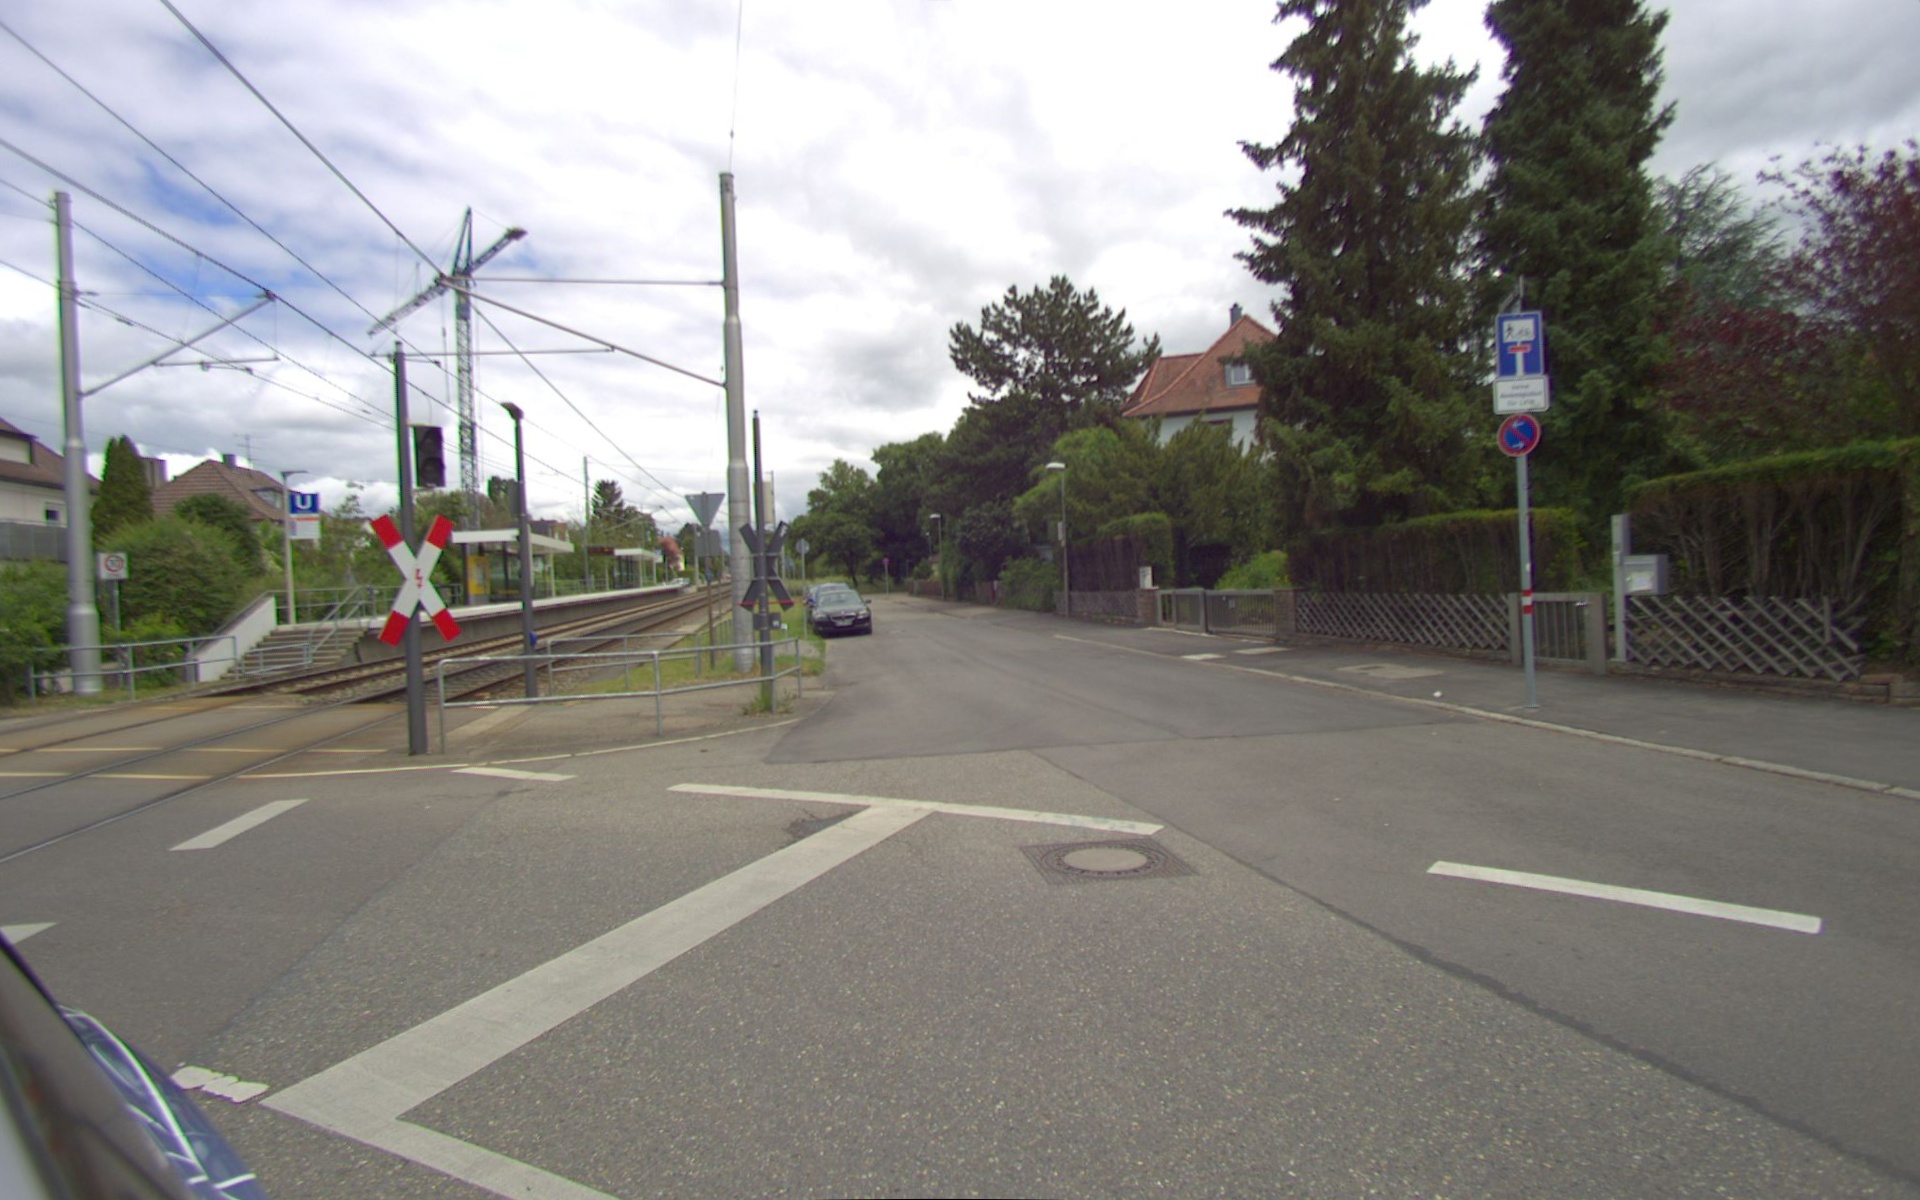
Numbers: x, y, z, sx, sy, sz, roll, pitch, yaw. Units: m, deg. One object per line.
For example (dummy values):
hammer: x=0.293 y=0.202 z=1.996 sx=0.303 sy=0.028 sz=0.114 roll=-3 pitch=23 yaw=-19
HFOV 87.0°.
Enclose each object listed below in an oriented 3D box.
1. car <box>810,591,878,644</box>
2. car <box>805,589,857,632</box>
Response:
car: x=-3.859 y=0.521 z=33.007 sx=1.793 sy=1.512 sz=4.129 roll=-3 pitch=1 yaw=-11
car: x=-5.108 y=0.373 z=39.638 sx=1.825 sy=1.491 sz=4.008 roll=-3 pitch=1 yaw=-9
